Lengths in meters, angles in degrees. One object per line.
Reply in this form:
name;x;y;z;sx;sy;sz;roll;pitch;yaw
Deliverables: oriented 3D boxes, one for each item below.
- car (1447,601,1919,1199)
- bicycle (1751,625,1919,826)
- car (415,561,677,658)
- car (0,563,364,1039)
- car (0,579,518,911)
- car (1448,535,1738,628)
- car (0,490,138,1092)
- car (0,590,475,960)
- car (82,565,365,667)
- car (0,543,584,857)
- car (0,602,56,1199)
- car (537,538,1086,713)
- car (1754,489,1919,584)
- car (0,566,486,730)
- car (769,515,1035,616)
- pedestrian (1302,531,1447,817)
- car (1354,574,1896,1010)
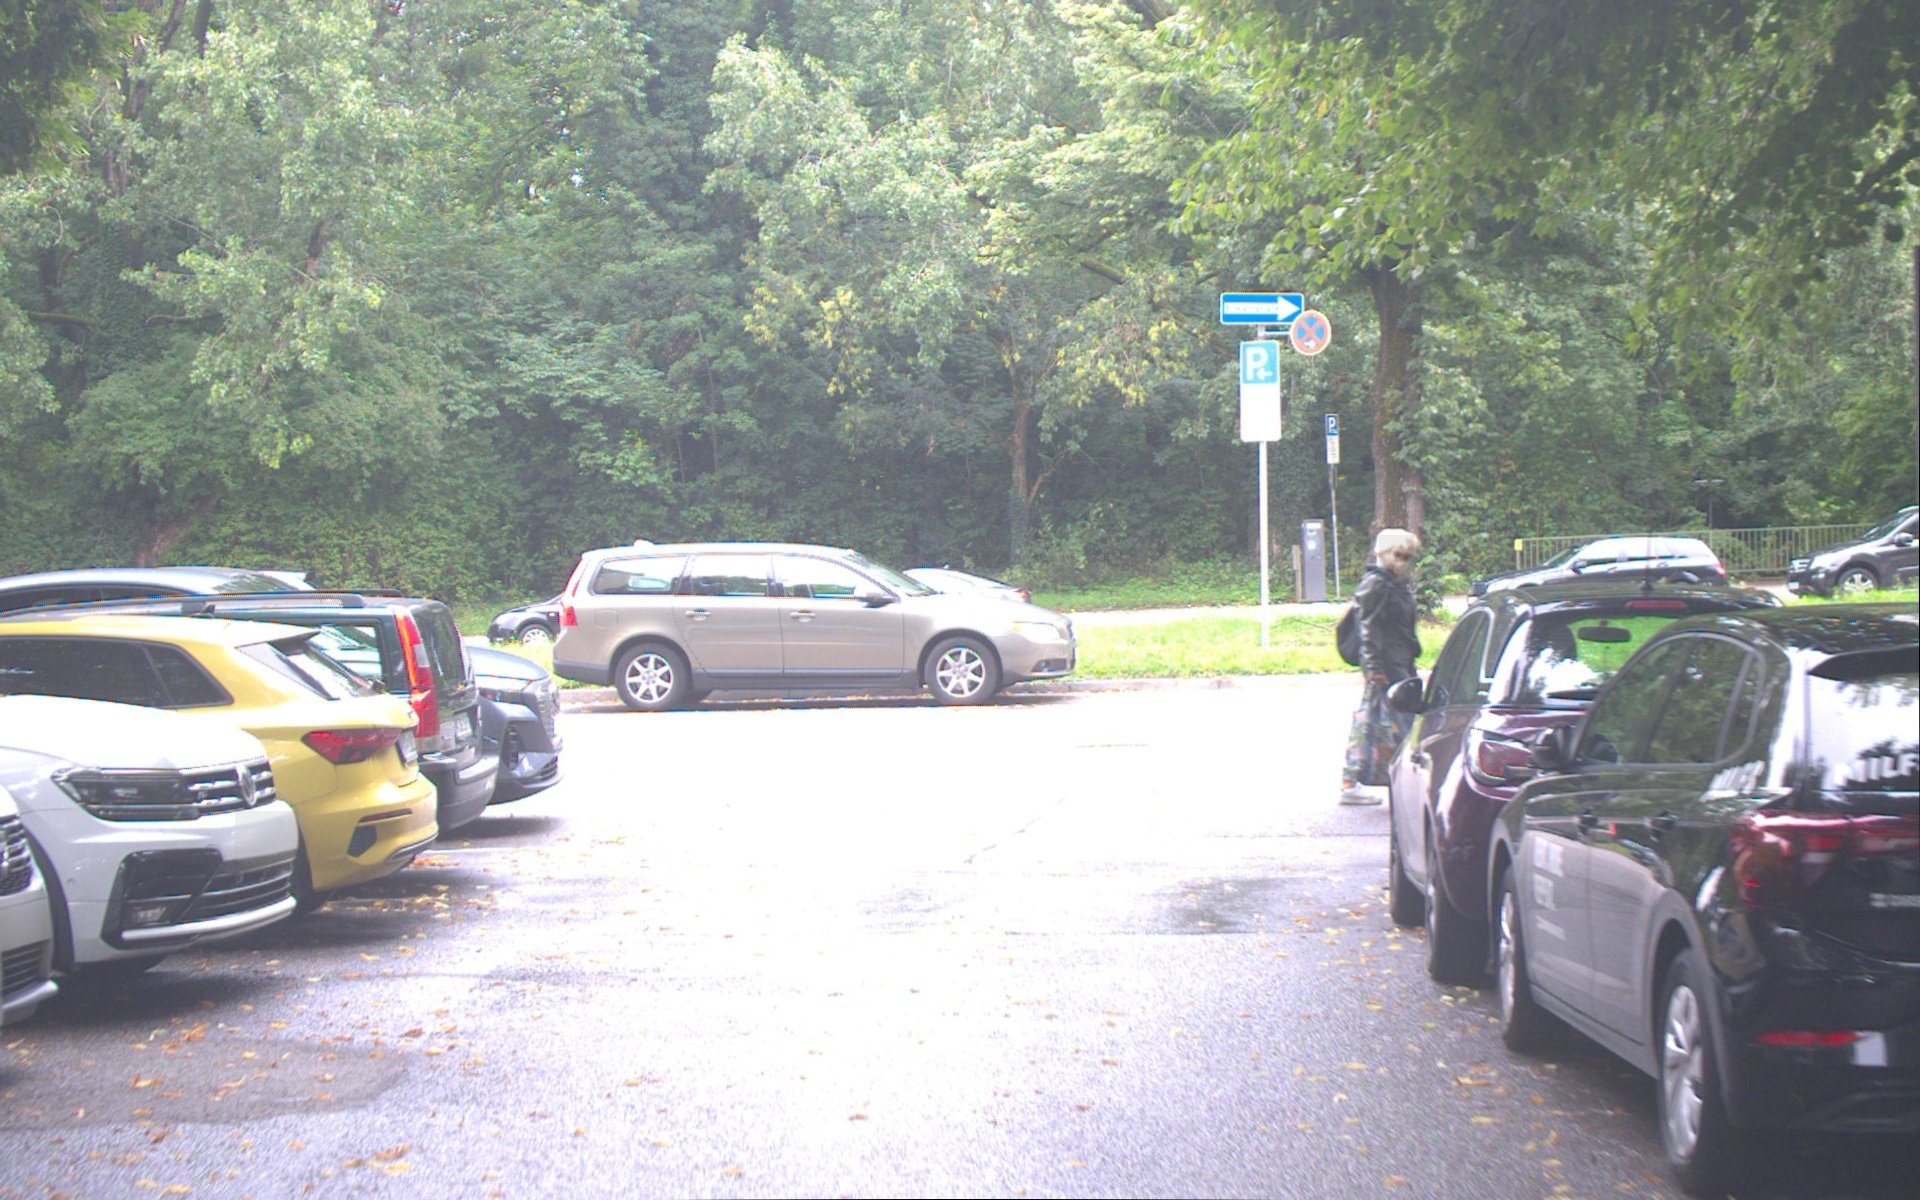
car;2.498;0.727;9.648;1.681;1.353;4.009;0;1;0
bicycle;4.877;0.616;17.212;1.753;0.978;0.273;-2;1;10
car;-7.055;0.151;58.925;4.233;1.489;2.000;-2;1;-1
car;-4.650;0.705;12.749;4.449;1.591;1.835;-1;1;6
car;-4.355;0.721;17.269;3.987;1.459;1.736;-2;2;1
car;11.055;-0.331;60.202;4.580;1.467;1.932;-2;1;-7
car;-4.901;0.615;10.337;4.314;1.725;1.848;-2;1;4
car;-4.204;0.757;15.021;3.879;1.436;1.741;-2;1;0
car;-12.516;0.257;58.638;4.434;1.573;1.932;-2;1;-4
car;-4.401;0.565;20.044;4.162;1.595;1.736;-2;3;1
car;-4.272;0.809;7.687;3.987;1.428;1.736;-2;1;1
car;-1.315;0.217;31.646;4.802;1.490;1.842;-1;1;6
car;16.774;-1.154;60.509;5.028;1.560;2.000;-2;1;-7
car;-6.816;0.440;32.201;4.349;1.375;1.769;-2;1;9
car;-1.006;-0.600;58.927;4.434;1.573;1.932;-2;1;-1
pedestrian;2.425;0.420;20.184;0.779;1.612;0.761;-1;3;3
car;2.543;0.665;13.905;1.648;1.469;3.643;-1;1;3
